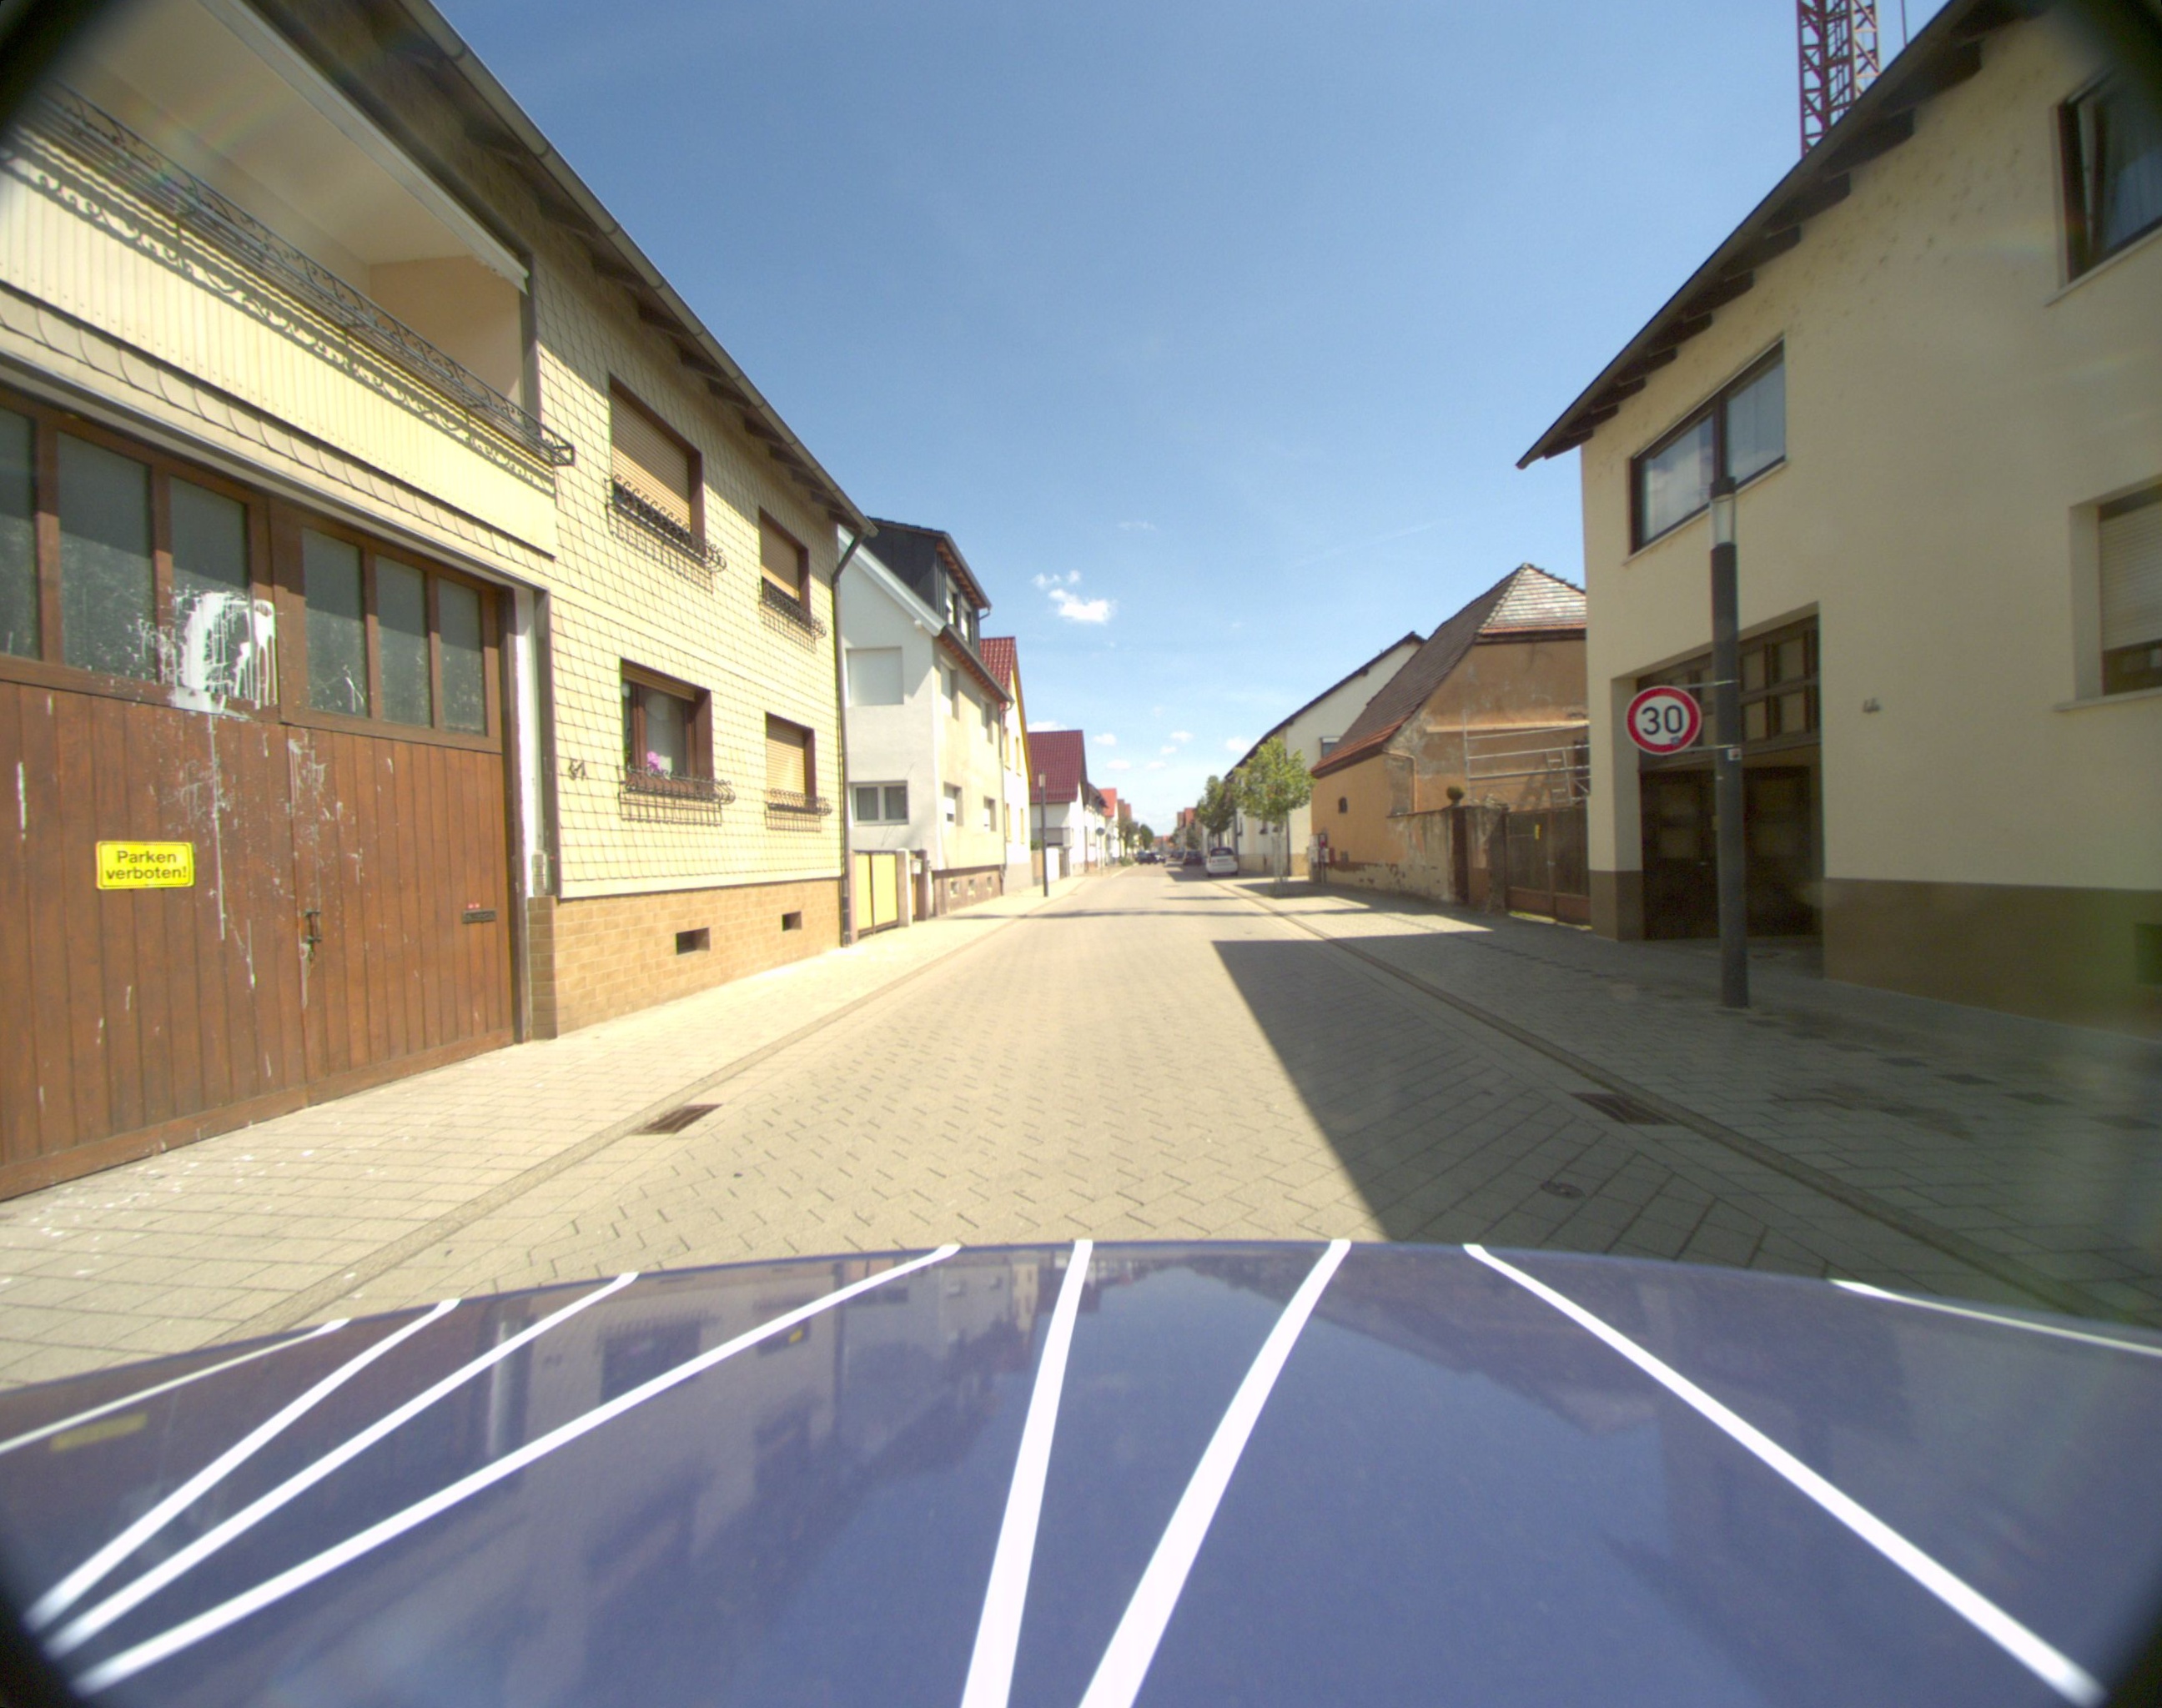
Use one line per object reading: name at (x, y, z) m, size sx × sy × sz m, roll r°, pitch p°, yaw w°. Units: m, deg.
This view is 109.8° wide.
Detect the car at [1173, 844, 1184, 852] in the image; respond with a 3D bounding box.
car at (20.007, -1.165, 155.652) m, size 1.854 × 1.543 × 4.001 m, roll -2°, pitch 0°, yaw 4°

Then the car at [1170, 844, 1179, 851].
car at (22.014, -1.502, 179.188) m, size 1.998 × 1.571 × 4.001 m, roll -2°, pitch 0°, yaw 6°

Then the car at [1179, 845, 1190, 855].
car at (18.305, -0.654, 134.285) m, size 1.851 × 1.689 × 4.002 m, roll -2°, pitch 0°, yaw 7°

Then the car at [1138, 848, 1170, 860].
car at (8.831, 0.027, 92.081) m, size 1.730 × 1.420 × 3.809 m, roll -2°, pitch 1°, yaw -35°

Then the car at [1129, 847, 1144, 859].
car at (8.626, -0.188, 117.831) m, size 1.997 × 1.696 × 4.002 m, roll -2°, pitch 1°, yaw 8°

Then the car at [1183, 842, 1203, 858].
car at (11.595, -0.399, 78.764) m, size 1.751 × 1.557 × 3.956 m, roll -2°, pitch 0°, yaw 4°

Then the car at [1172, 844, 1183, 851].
car at (21.985, -1.410, 173.185) m, size 1.998 × 1.571 × 4.001 m, roll -2°, pitch 0°, yaw 4°

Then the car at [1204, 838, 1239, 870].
car at (7.451, -0.025, 40.470) m, size 1.575 × 1.552 × 2.823 m, roll -4°, pitch 0°, yaw 8°
